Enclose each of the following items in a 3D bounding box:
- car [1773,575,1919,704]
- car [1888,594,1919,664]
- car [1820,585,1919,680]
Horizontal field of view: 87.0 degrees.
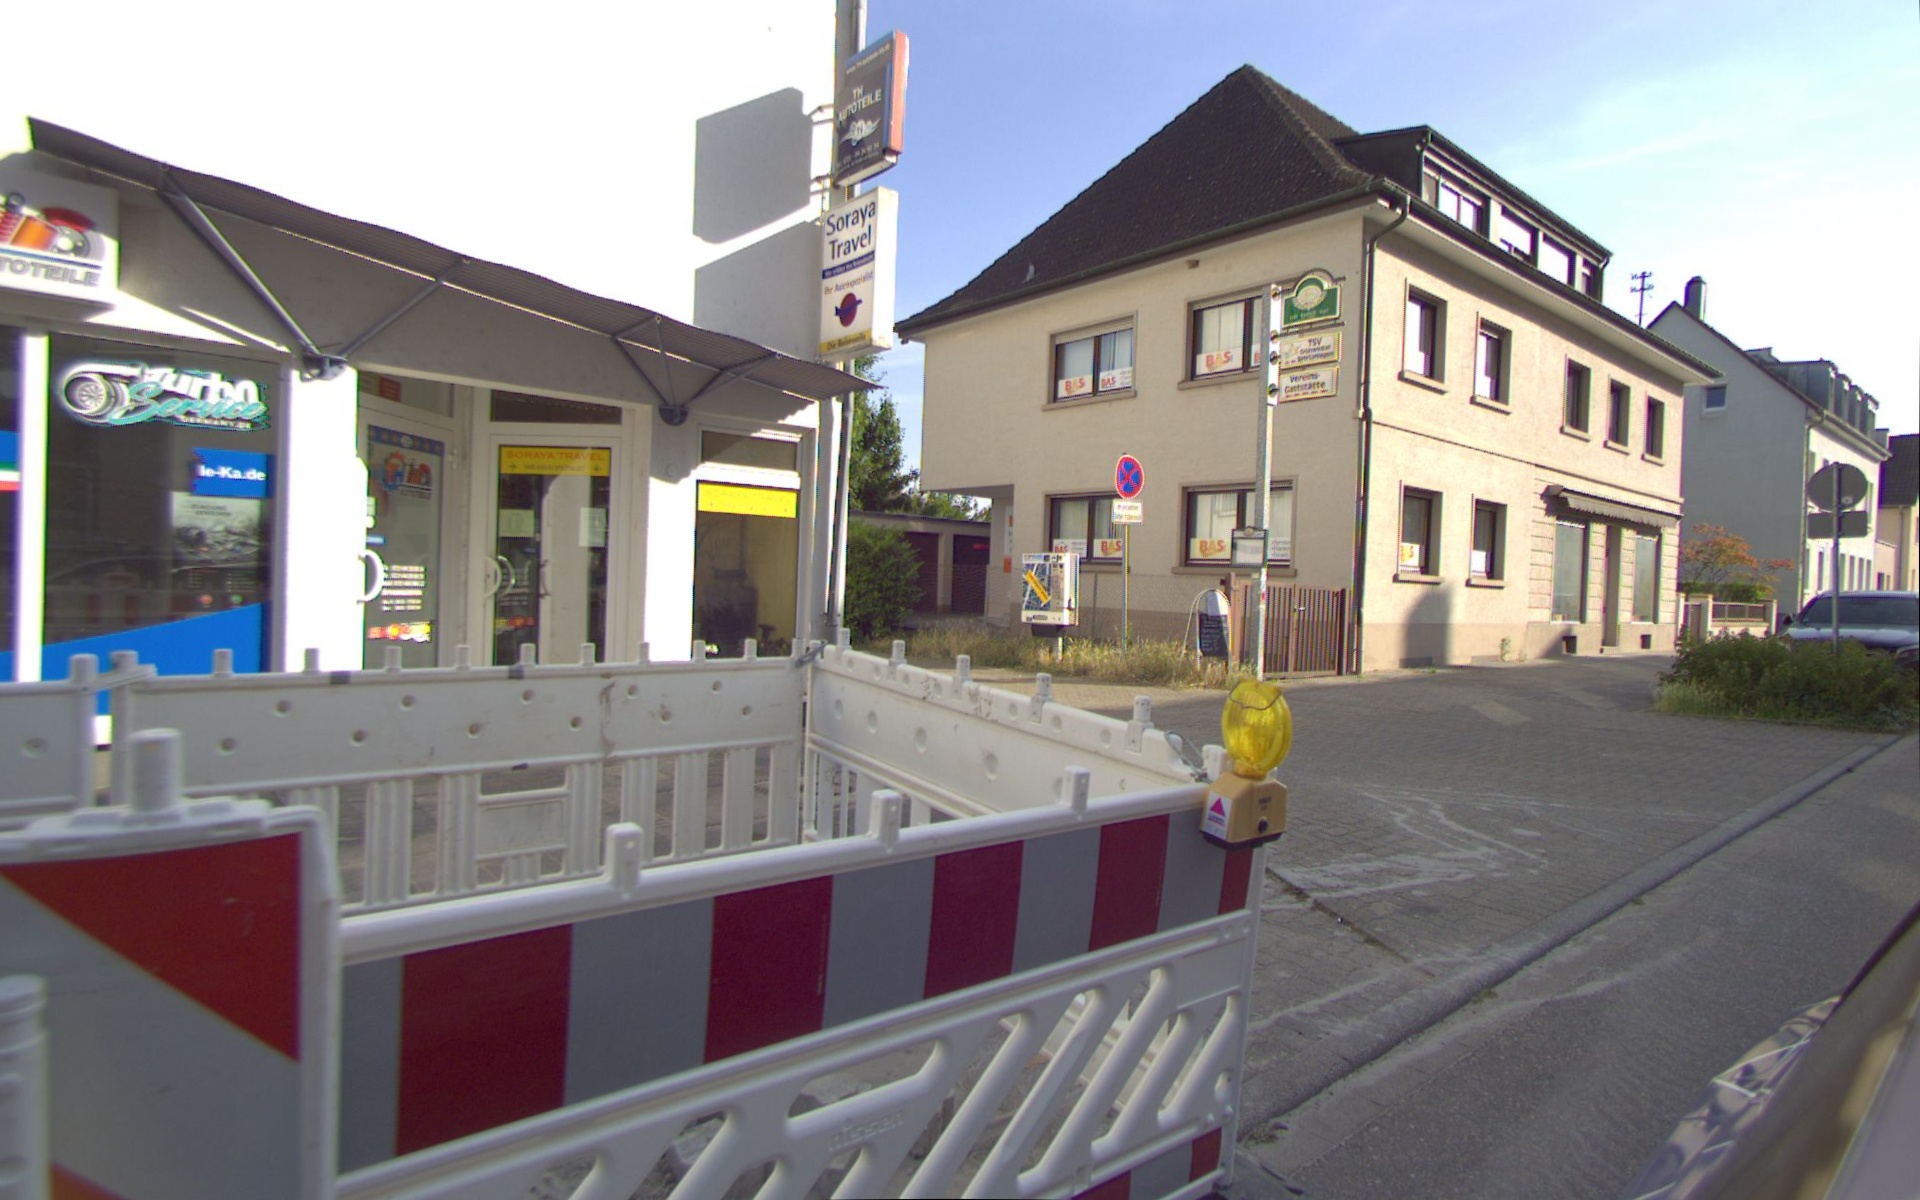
[{"bbox_3d":[13.931,0.521,15.215,4.384,1.650,1.834,0,2,-40],"label":"car"},{"bbox_3d":[21.859,0.638,22.064,4.527,1.437,1.834,0,2,-41],"label":"car"},{"bbox_3d":[17.842,0.571,19.113,4.242,1.579,1.833,0,2,-42],"label":"car"}]
